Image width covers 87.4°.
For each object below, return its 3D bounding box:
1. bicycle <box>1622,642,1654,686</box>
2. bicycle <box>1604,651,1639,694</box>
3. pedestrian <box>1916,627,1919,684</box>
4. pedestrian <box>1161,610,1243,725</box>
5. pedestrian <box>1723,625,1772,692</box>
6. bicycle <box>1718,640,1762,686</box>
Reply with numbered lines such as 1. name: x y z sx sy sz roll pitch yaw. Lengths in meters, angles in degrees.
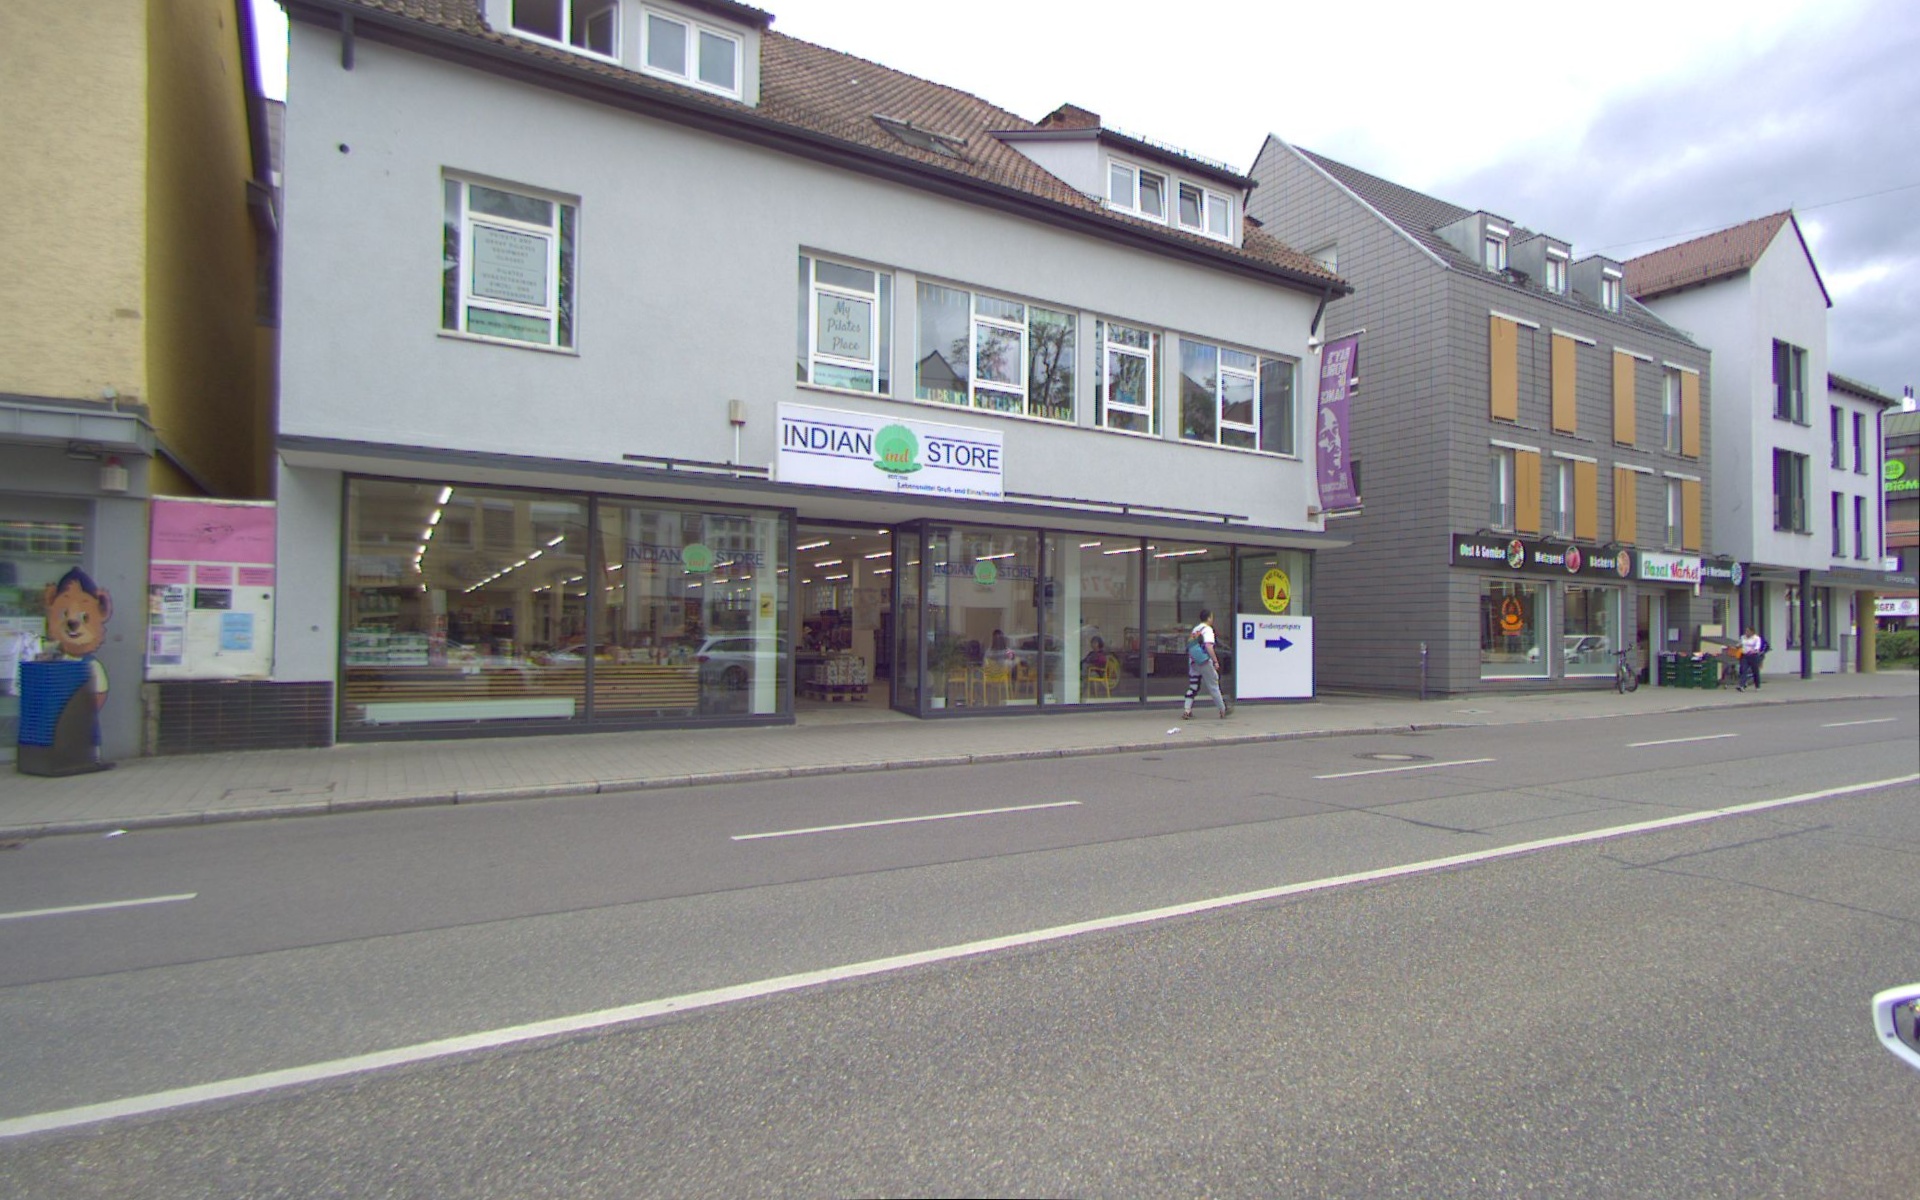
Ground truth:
1. bicycle: 18.505 1.737 27.426 1.279 1.142 0.383 1 -2 -40
2. bicycle: 15.634 1.705 23.728 1.472 0.966 0.323 2 -2 -41
3. pedestrian: 28.890 1.652 29.840 0.555 1.672 0.646 1 -2 -41
4. pedestrian: 3.846 1.050 15.978 0.969 1.728 0.750 1 1 -30
5. pedestrian: 19.555 1.429 24.958 0.744 1.631 0.725 1 -1 -29
6. bicycle: 21.318 1.706 27.447 1.806 1.201 0.384 1 -2 -33
